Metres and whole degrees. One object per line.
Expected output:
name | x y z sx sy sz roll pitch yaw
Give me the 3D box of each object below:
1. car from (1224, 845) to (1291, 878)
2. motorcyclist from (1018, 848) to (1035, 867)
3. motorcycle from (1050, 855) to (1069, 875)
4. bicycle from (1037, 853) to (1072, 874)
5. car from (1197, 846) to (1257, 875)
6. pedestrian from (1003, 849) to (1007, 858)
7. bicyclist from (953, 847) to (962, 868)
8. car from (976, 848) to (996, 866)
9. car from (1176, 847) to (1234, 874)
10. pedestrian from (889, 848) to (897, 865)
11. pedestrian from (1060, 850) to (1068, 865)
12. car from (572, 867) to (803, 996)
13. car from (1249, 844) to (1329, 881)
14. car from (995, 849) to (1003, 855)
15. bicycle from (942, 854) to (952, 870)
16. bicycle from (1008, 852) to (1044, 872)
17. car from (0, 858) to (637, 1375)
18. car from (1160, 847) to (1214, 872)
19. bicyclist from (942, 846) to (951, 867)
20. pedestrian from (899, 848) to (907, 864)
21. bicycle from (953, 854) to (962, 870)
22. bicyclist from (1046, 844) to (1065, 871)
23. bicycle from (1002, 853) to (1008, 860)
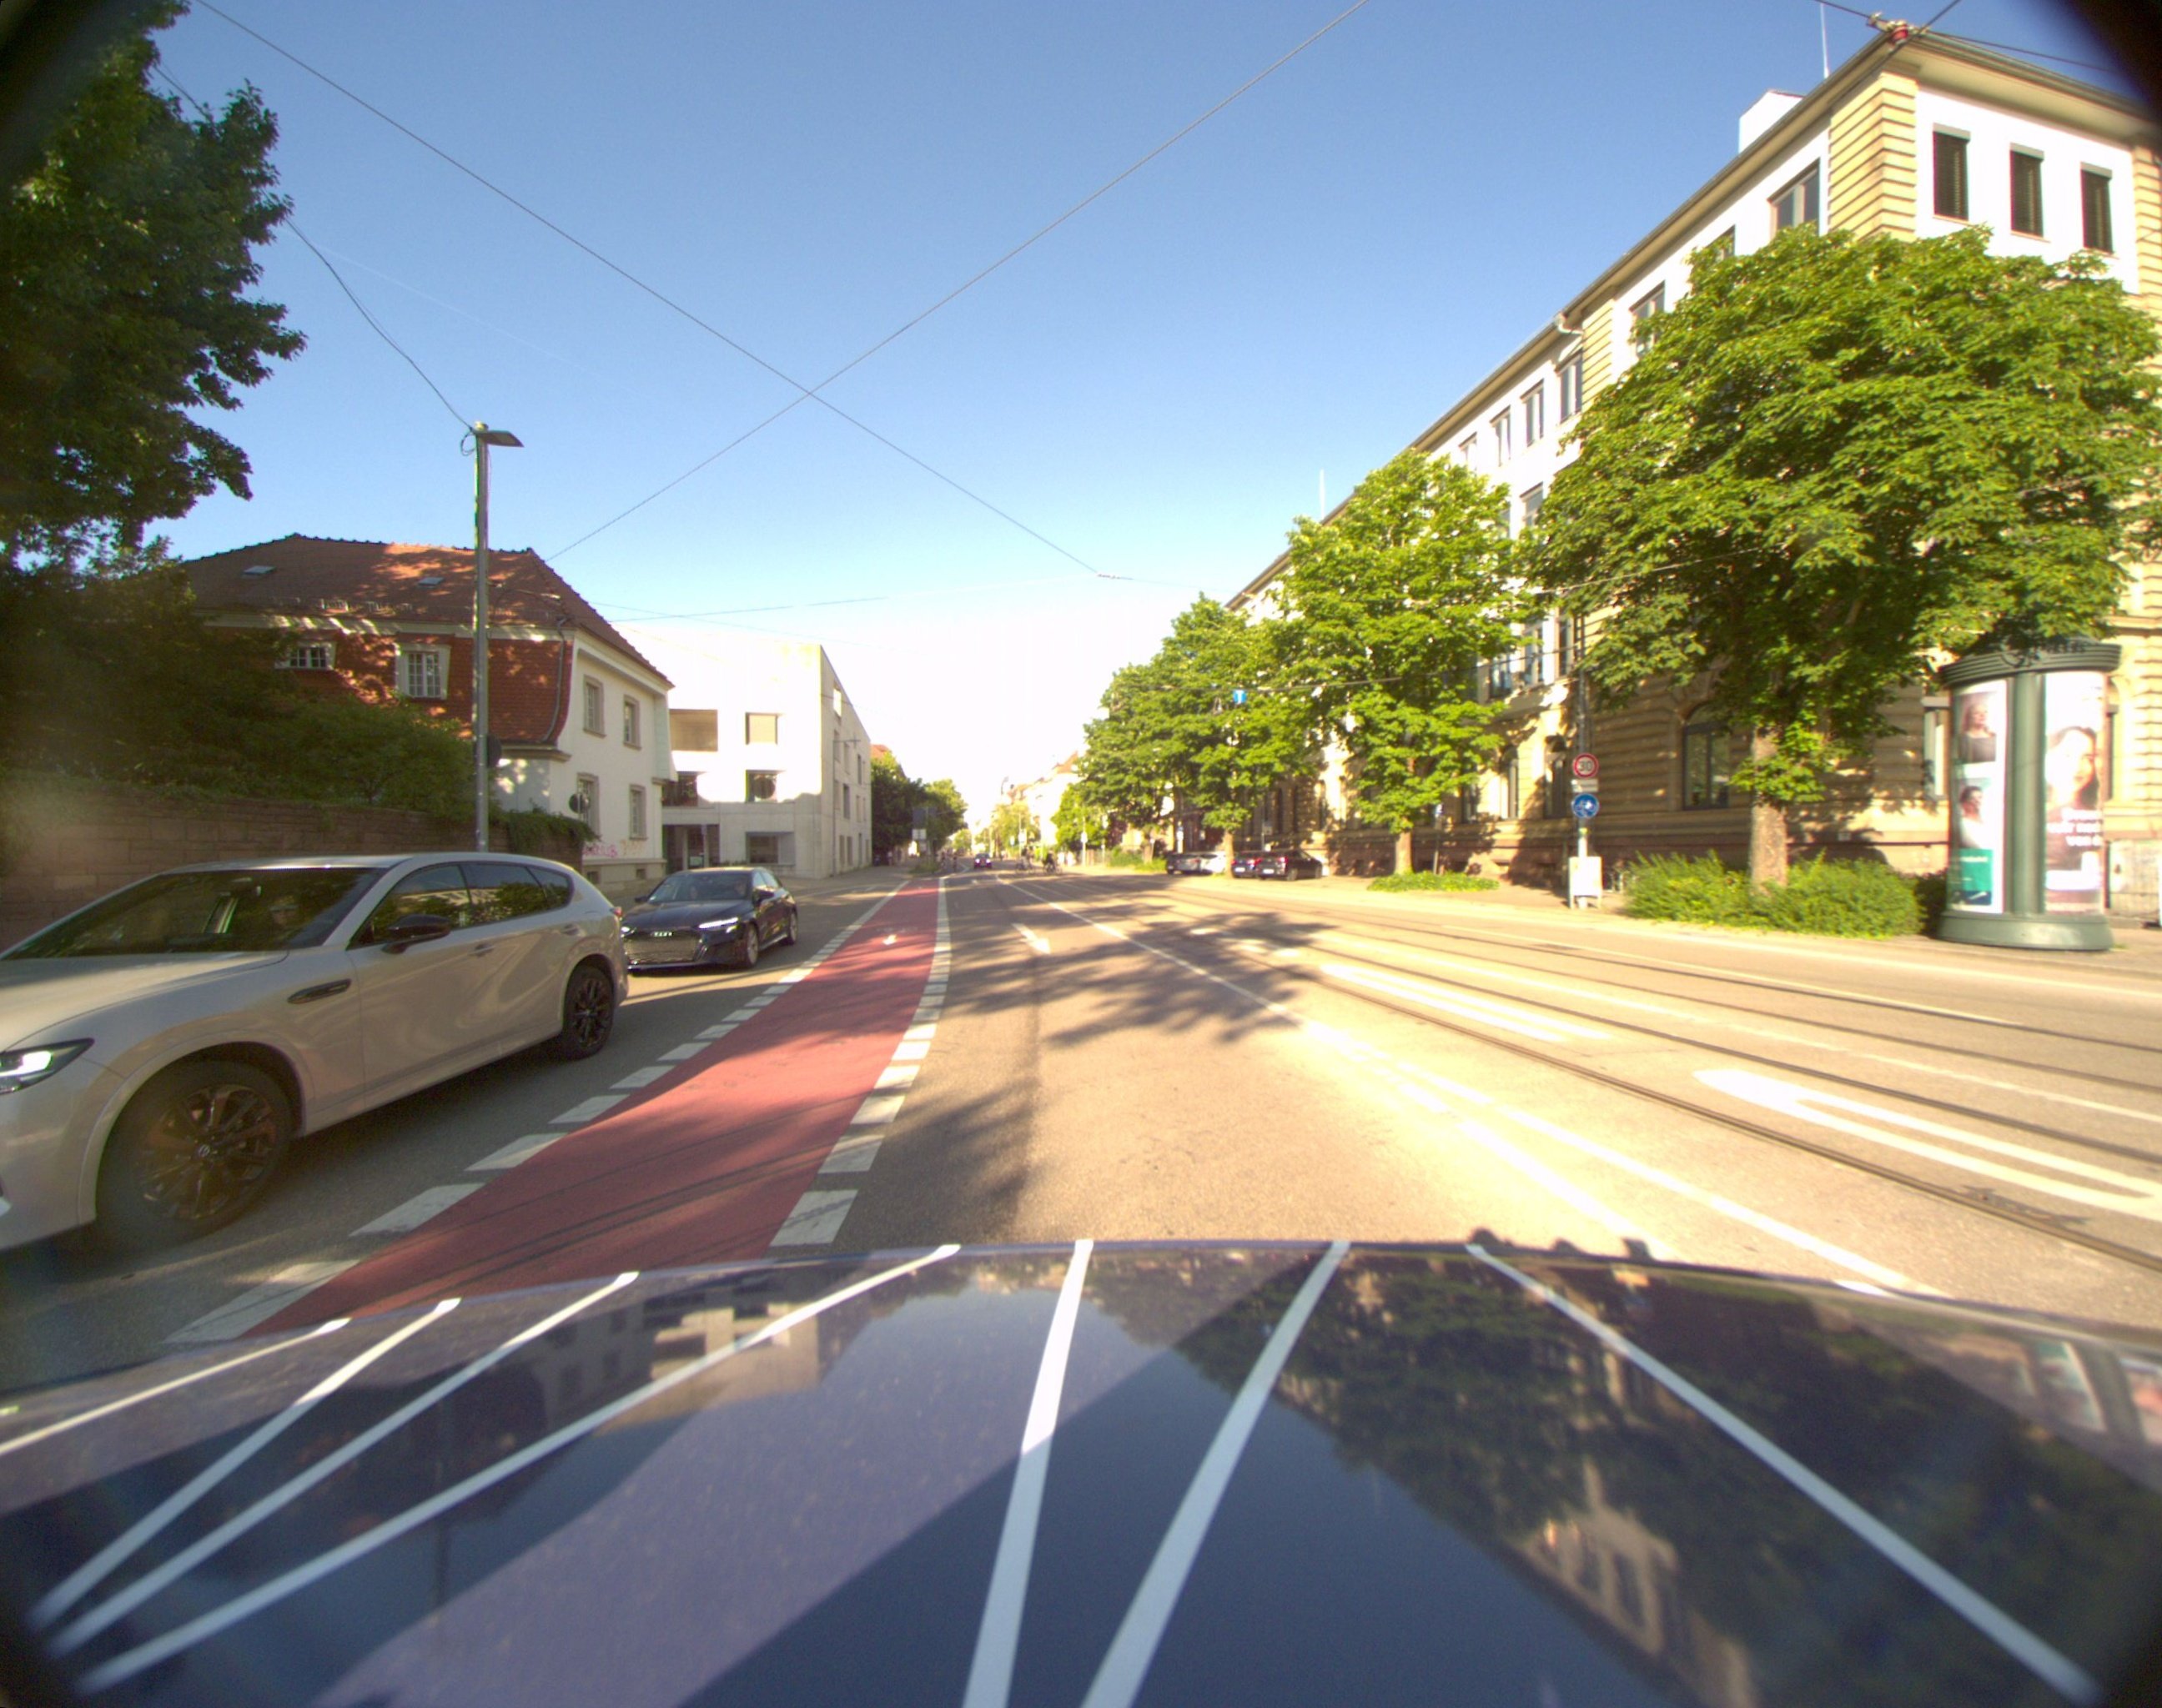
car | 9.420 0.384 40.414 3.657 1.552 1.645 -3 1 -43
motorcyclist | -3.586 0.251 49.904 0.855 1.243 0.674 -1 1 -41
motorcycle | -1.523 0.771 54.369 0.680 1.285 2.268 -2 1 16
bicycle | -1.607 0.568 46.496 0.674 1.243 2.462 1 1 42
car | 8.891 0.382 46.130 3.657 1.552 1.645 -3 1 -43
pedestrian | -13.590 -0.065 136.048 0.675 1.638 0.817 -1 1 0
bicyclist | -9.940 0.270 61.042 0.676 1.638 1.028 0 1 -8
car | -8.689 0.275 69.842 1.649 1.552 3.648 -2 1 -5
car | 7.912 0.383 48.361 3.657 1.552 1.645 -3 1 -43
pedestrian | -18.577 0.206 74.927 0.676 1.638 0.817 -1 1 -9
pedestrian | -1.855 0.428 83.445 0.676 1.638 0.817 -1 1 -9
car | -5.620 0.995 11.481 1.789 1.425 3.997 -2 1 -8
car | 10.384 0.401 37.754 4.189 1.621 1.841 -3 1 -43
car | -21.304 -0.481 196.645 1.650 1.552 3.646 -2 1 -12
bicycle | -10.903 0.638 61.796 0.676 1.243 2.454 0 1 -8
bicycle | -3.598 0.497 49.902 2.462 1.243 0.674 -1 1 -41
car | -4.805 0.935 4.474 1.946 1.682 4.529 -2 1 -5
car | 7.236 0.354 51.771 3.657 1.552 1.645 -3 1 -43
bicyclist | -10.902 0.199 61.731 0.676 1.638 1.028 0 1 -8
pedestrian | -17.633 0.204 75.145 0.676 1.638 0.817 -1 1 -9
bicycle | -9.929 0.611 60.984 0.676 1.243 2.454 0 1 -8
bicyclist | -1.557 0.233 46.547 0.674 1.638 1.031 1 1 42
bicycle | -13.584 0.376 136.107 0.676 1.243 2.456 -1 1 0
